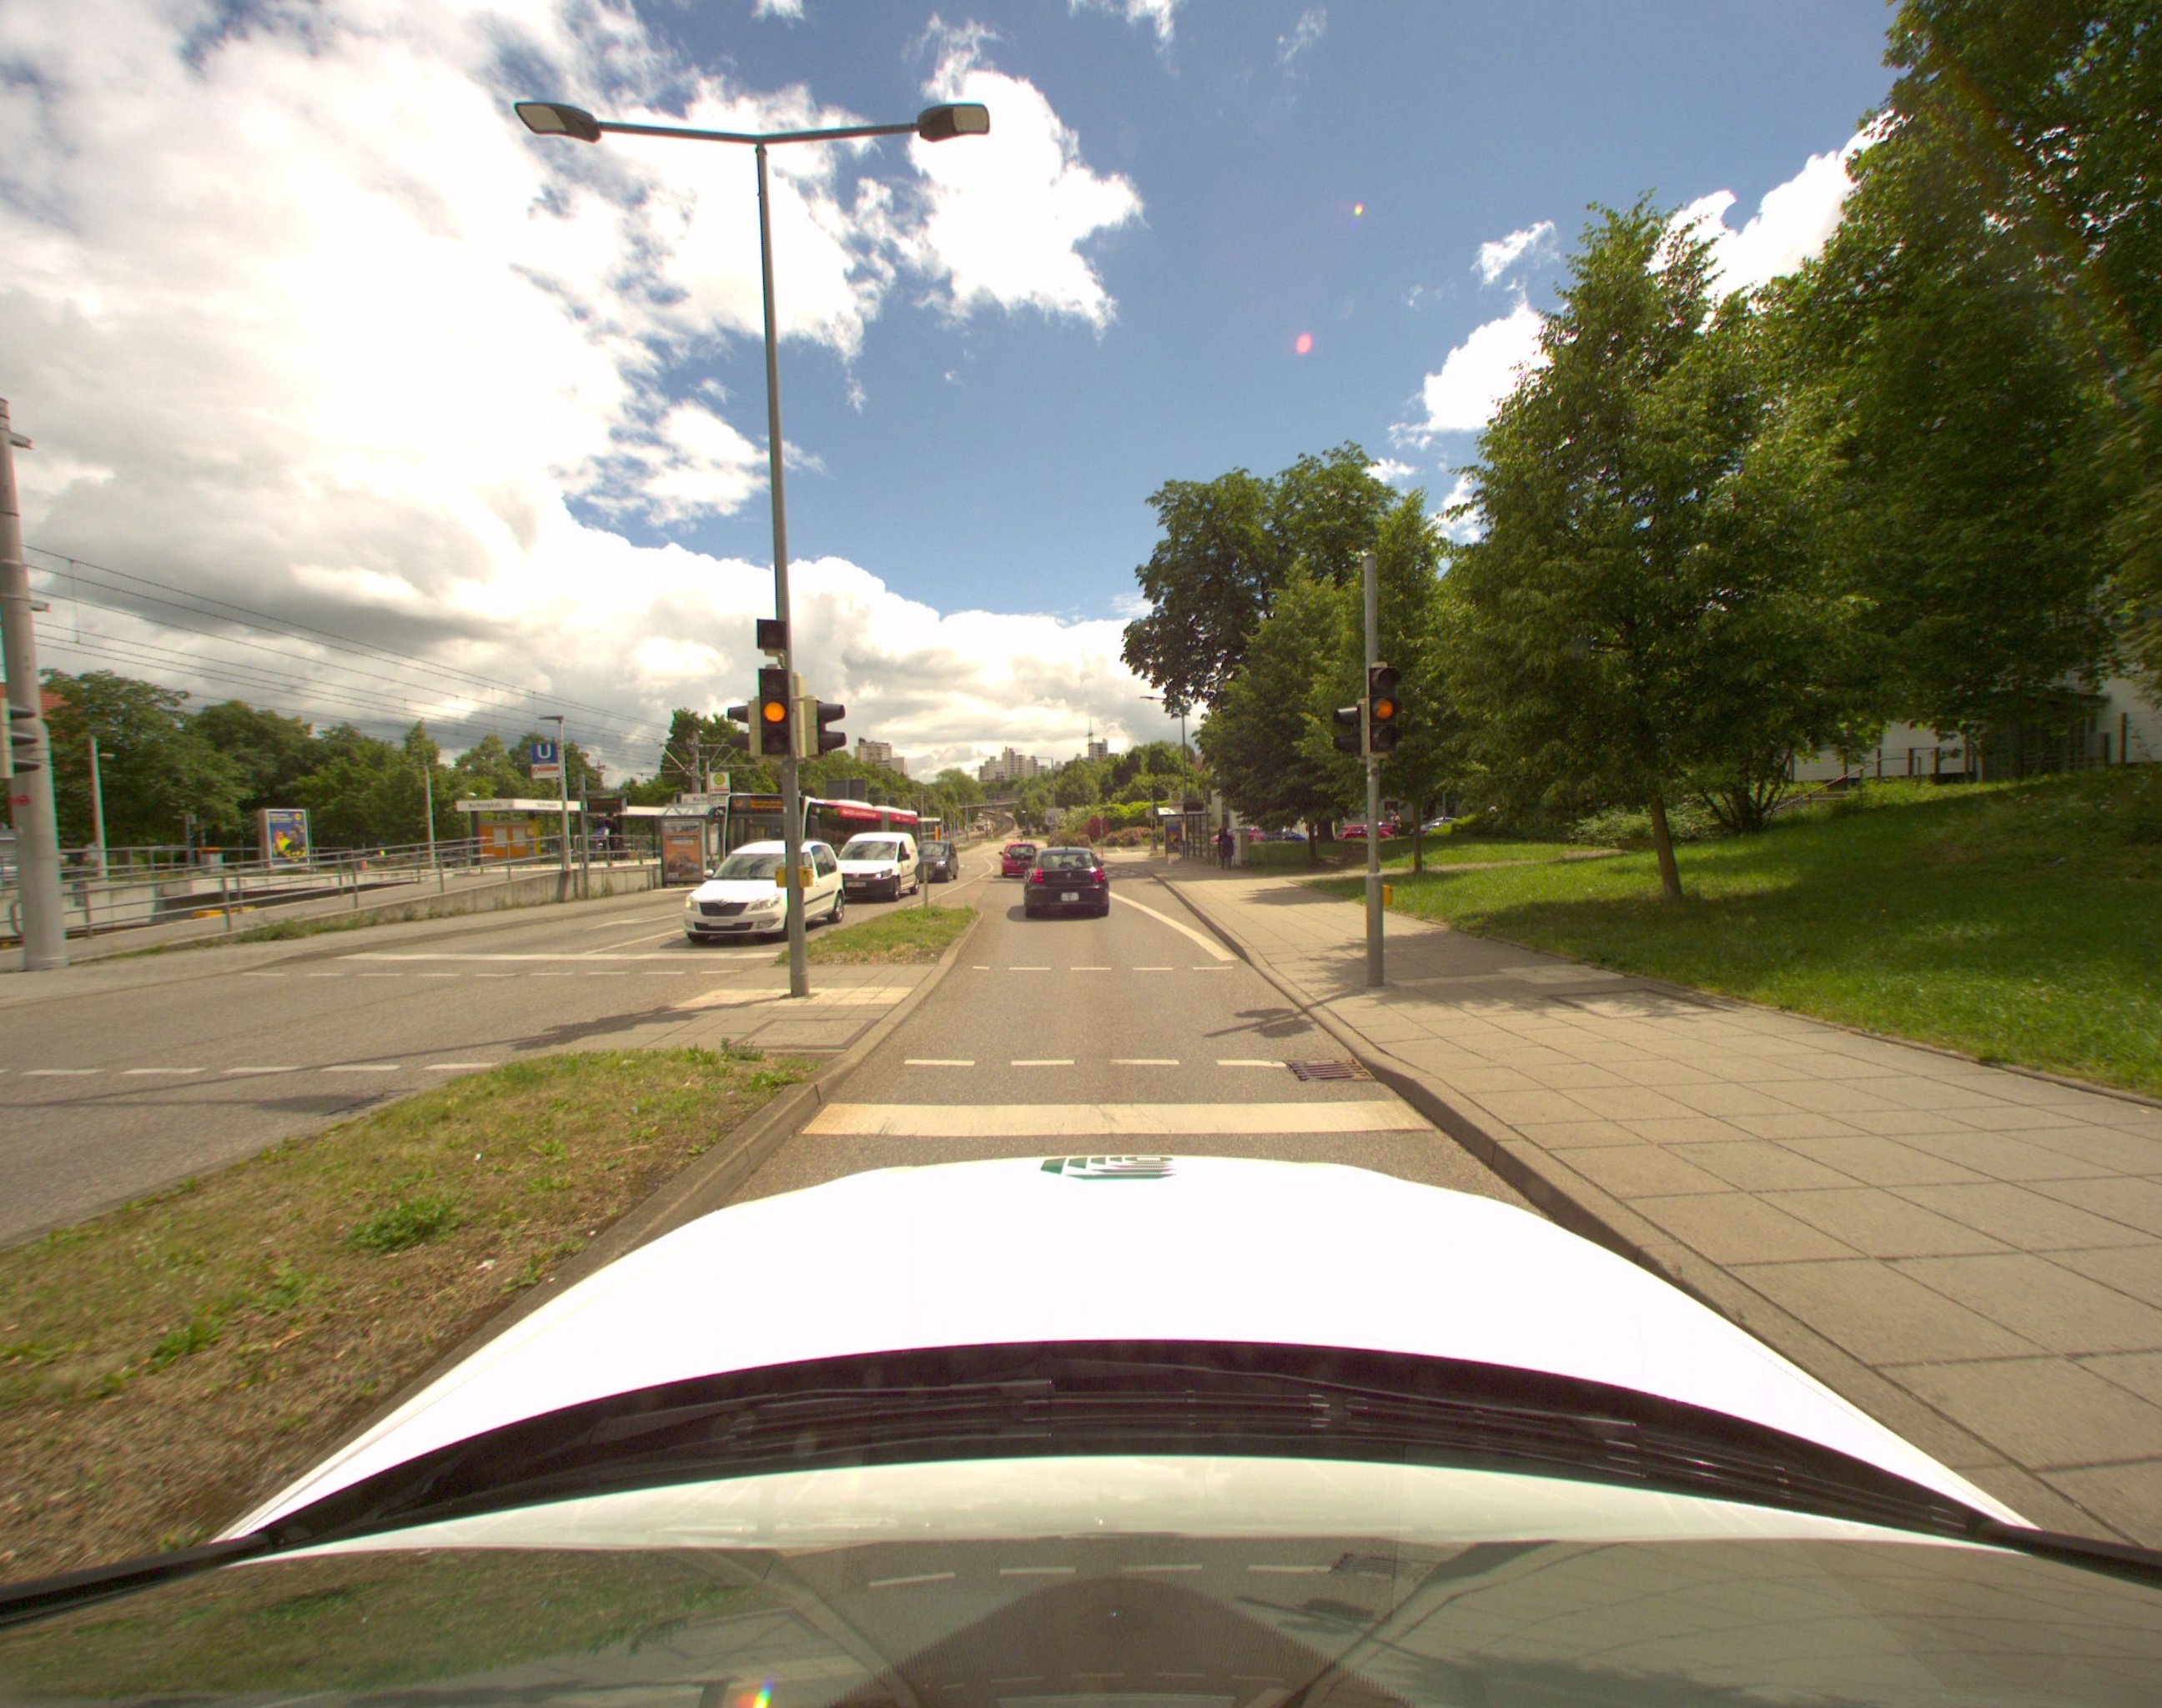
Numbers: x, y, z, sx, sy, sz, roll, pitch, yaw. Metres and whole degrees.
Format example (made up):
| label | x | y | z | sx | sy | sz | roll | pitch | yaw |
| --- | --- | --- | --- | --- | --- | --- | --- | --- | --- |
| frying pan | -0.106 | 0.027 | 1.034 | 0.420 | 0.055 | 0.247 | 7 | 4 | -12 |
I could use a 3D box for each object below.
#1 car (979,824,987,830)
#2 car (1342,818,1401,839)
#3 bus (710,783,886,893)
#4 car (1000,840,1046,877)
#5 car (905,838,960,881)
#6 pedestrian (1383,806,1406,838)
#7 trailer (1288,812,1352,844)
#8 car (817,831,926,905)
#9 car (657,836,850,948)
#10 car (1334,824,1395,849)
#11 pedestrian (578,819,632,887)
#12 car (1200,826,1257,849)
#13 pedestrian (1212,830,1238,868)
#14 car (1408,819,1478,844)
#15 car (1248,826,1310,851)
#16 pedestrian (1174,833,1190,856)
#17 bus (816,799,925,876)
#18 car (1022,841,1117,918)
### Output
| label | x | y | z | sx | sy | sz | roll | pitch | yaw |
| --- | --- | --- | --- | --- | --- | --- | --- | --- | --- |
| car | -27.516 | -7.602 | 228.709 | 1.710 | 1.502 | 2.973 | -1 | 2 | 7 |
| car | 23.885 | -2.116 | 66.985 | 4.072 | 1.502 | 1.998 | -3 | 3 | -4 |
| bus | -9.310 | -0.565 | 28.331 | 2.718 | 3.109 | 9.701 | -1 | 1 | -1 |
| car | -2.538 | 0.141 | 34.954 | 1.763 | 1.432 | 3.471 | -3 | 1 | -6 |
| car | -5.660 | 0.173 | 31.448 | 1.526 | 1.551 | 3.730 | 0 | 1 | -2 |
| pedestrian | 17.619 | -1.795 | 45.780 | 0.980 | 1.760 | 0.860 | -2 | 0 | 9 |
| trailer | 19.528 | -2.163 | 66.724 | 4.527 | 2.486 | 2.219 | -2 | 3 | -3 |
| car | -5.594 | 0.286 | 22.367 | 1.756 | 1.662 | 4.506 | -2 | 3 | 0 |
| car | -5.501 | 0.531 | 14.289 | 1.693 | 1.648 | 4.078 | -1 | 1 | 0 |
| car | 20.026 | -1.255 | 57.607 | 3.679 | 1.643 | 1.828 | -2 | 3 | -4 |
| pedestrian | -14.637 | -0.024 | 25.073 | 0.967 | 2.013 | 1.029 | -2 | 0 | 2 |
| car | 11.894 | -1.351 | 65.959 | 4.152 | 1.561 | 1.996 | -2 | 4 | -7 |
| pedestrian | 5.479 | -0.196 | 31.033 | 0.817 | 1.424 | 0.829 | -2 | 0 | -1 |
| car | 25.761 | -1.624 | 58.049 | 4.072 | 1.559 | 1.997 | -2 | 2 | -5 |
| car | 13.878 | -1.091 | 57.139 | 3.786 | 1.456 | 1.894 | -3 | 3 | -4 |
| pedestrian | 5.675 | -0.522 | 45.799 | 0.824 | 1.258 | 0.686 | -2 | 1 | 1 |
| bus | -9.415 | -0.760 | 37.602 | 2.718 | 3.069 | 8.961 | -1 | 1 | -1 |
| car | -0.294 | 0.481 | 17.888 | 1.811 | 1.420 | 3.997 | -2 | 1 | -2 |
